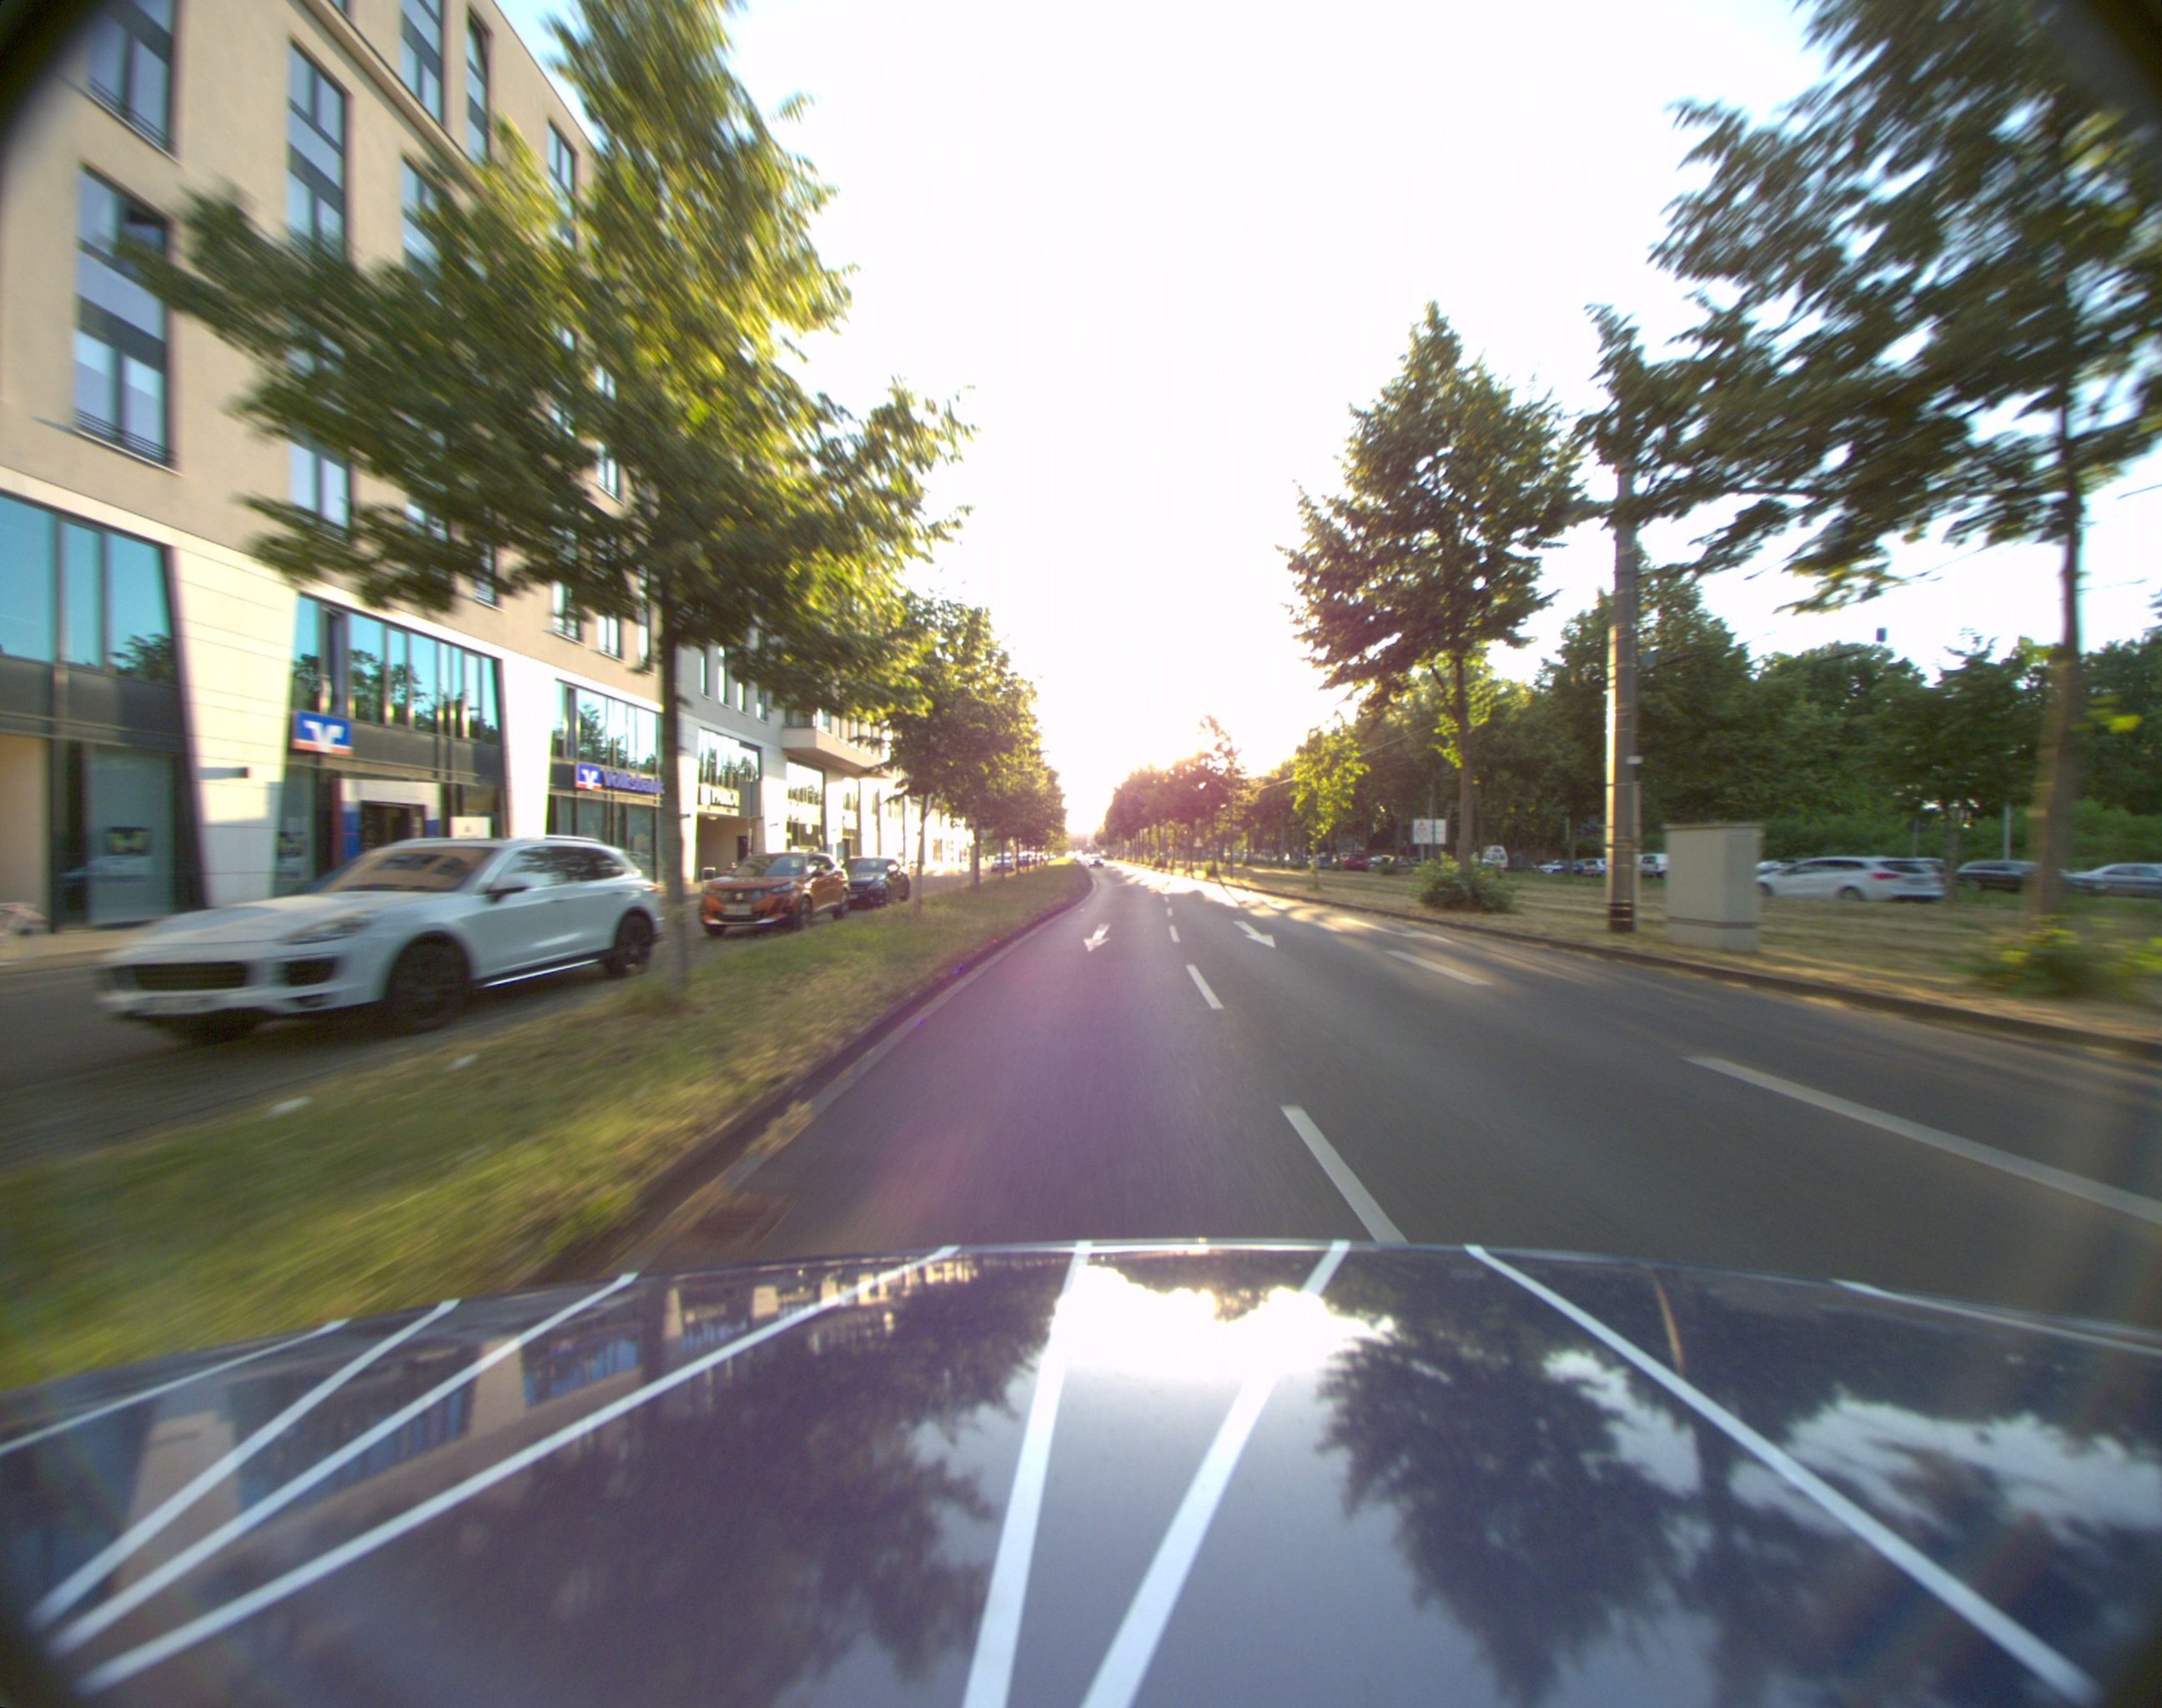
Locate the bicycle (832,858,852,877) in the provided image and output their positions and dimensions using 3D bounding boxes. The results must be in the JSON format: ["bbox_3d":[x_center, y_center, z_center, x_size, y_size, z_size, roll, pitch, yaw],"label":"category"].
[{"bbox_3d":[-13.483,0.752,42.850,0.534,1.054,1.857,2,0,0],"label":"bicycle"}]

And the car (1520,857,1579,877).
[{"bbox_3d":[40.915,1.128,66.412,3.996,1.630,1.922,0,0,2],"label":"car"}]

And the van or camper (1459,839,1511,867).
[{"bbox_3d":[40.388,-0.113,76.070,2.090,2.719,5.493,0,0,-2],"label":"van or camper"}]

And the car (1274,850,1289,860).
[{"bbox_3d":[33.894,0.172,128.624,1.997,1.630,4.002,0,0,7],"label":"car"}]

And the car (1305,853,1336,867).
[{"bbox_3d":[25.160,0.617,80.006,1.923,1.499,4.286,0,0,-1],"label":"car"}]

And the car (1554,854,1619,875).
[{"bbox_3d":[40.634,0.852,61.146,3.998,1.630,1.921,0,0,-4],"label":"car"}]

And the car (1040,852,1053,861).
[{"bbox_3d":[-6.289,0.382,138.226,1.812,1.492,4.369,4,0,3],"label":"car"}]

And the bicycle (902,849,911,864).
[{"bbox_3d":[-12.778,0.201,55.641,0.535,1.055,1.854,2,0,-13],"label":"bicycle"}]

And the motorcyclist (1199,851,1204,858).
[{"bbox_3d":[22.256,0.119,140.501,0.683,1.367,0.804,0,1,-1],"label":"motorcyclist"}]

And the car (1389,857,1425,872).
[{"bbox_3d":[33.940,1.036,79.208,1.999,1.477,3.999,0,0,-1],"label":"car"}]

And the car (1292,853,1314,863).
[{"bbox_3d":[32.648,0.569,111.759,1.904,1.491,4.306,0,0,0],"label":"car"}]

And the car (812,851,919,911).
[{"bbox_3d":[-6.166,0.701,22.300,1.949,1.540,4.810,0,0,-2],"label":"car"}]

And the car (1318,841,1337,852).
[{"bbox_3d":[43.669,-1.342,134.527,1.998,2.002,5.059,0,0,3],"label":"car"}]

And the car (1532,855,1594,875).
[{"bbox_3d":[40.783,0.911,64.308,3.997,1.630,1.922,0,0,1],"label":"car"}]

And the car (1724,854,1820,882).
[{"bbox_3d":[40.434,0.788,44.546,3.998,1.630,1.921,0,0,-4],"label":"car"}]

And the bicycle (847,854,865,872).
[{"bbox_3d":[-13.467,0.504,45.599,0.534,1.055,1.857,0,0,0],"label":"bicycle"}]

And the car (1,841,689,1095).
[{"bbox_3d":[-6.393,0.771,7.807,1.956,1.704,5.158,-1,0,1],"label":"car"}]

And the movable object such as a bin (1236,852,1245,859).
[{"bbox_3d":[35.842,0.326,170.836,1.556,1.364,1.724,0,0,1],"label":"movable object such as a bin"}]

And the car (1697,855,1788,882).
[{"bbox_3d":[40.565,0.878,46.655,3.998,1.630,1.921,0,0,-4],"label":"car"}]

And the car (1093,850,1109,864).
[{"bbox_3d":[2.397,0.309,91.547,1.828,1.625,3.999,0,0,-1],"label":"car"}]

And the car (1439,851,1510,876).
[{"bbox_3d":[22.760,0.524,44.156,1.661,1.324,4.472,0,0,-2],"label":"car"}]

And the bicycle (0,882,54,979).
[{"bbox_3d":[-13.134,0.910,8.519,0.571,1.118,1.835,2,0,11],"label":"bicycle"}]

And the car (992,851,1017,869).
[{"bbox_3d":[-6.568,0.485,65.622,1.813,1.492,4.824,0,0,-1],"label":"car"}]

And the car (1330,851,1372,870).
[{"bbox_3d":[22.361,0.523,63.077,1.890,1.569,4.181,0,0,-2],"label":"car"}]

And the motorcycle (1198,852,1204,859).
[{"bbox_3d":[22.246,0.312,140.400,0.683,1.329,2.344,0,0,-1],"label":"motorcycle"}]

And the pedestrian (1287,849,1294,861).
[{"bbox_3d":[28.952,0.140,105.145,0.695,1.733,0.866,0,1,-3],"label":"pedestrian"}]

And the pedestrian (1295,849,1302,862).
[{"bbox_3d":[29.809,0.192,104.064,0.695,1.859,0.865,0,1,-8],"label":"pedestrian"}]

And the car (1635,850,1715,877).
[{"bbox_3d":[41.252,0.669,52.855,3.997,1.834,2.012,0,0,0],"label":"car"}]

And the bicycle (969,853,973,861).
[{"bbox_3d":[-13.840,0.375,95.680,0.535,1.053,1.611,0,1,-6],"label":"bicycle"}]

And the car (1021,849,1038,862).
[{"bbox_3d":[-6.702,0.207,99.882,1.958,1.614,4.820,-2,0,-1],"label":"car"}]

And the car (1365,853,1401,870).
[{"bbox_3d":[33.552,0.808,84.562,1.999,1.740,4.790,0,0,-1],"label":"car"}]

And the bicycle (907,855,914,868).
[{"bbox_3d":[-14.058,0.585,62.699,0.535,1.055,1.854,2,0,-13],"label":"bicycle"}]

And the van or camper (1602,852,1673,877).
[{"bbox_3d":[40.892,0.766,55.833,4.001,1.780,1.998,0,0,-11],"label":"van or camper"}]

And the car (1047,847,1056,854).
[{"bbox_3d":[-7.121,-0.830,183.797,1.924,1.492,5.410,0,0,-1],"label":"car"}]

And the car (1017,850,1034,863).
[{"bbox_3d":[-6.690,0.292,92.333,1.728,1.492,4.232,-1,0,0],"label":"car"}]

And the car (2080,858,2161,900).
[{"bbox_3d":[43.501,1.006,30.398,1.920,1.630,4.001,0,0,3],"label":"car"}]

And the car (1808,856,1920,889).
[{"bbox_3d":[40.644,0.948,39.498,3.998,1.630,1.921,0,0,-4],"label":"car"}]

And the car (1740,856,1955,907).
[{"bbox_3d":[22.225,0.736,22.344,1.661,1.324,4.529,0,0,-2],"label":"car"}]

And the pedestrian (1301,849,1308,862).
[{"bbox_3d":[30.815,0.225,104.667,0.695,1.748,0.865,0,1,-8],"label":"pedestrian"}]

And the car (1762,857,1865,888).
[{"bbox_3d":[40.550,0.994,42.139,3.998,1.630,1.921,0,0,-4],"label":"car"}]

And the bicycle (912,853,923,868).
[{"bbox_3d":[-13.520,0.520,62.809,0.539,1.157,1.781,2,0,0],"label":"bicycle"}]

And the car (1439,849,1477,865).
[{"bbox_3d":[40.387,0.314,81.533,1.999,1.740,3.999,0,0,-1],"label":"car"}]

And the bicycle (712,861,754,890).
[{"bbox_3d":[-13.388,0.810,29.285,0.654,1.033,2.055,0,0,0],"label":"bicycle"}]

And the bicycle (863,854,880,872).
[{"bbox_3d":[-13.385,0.568,48.499,0.534,1.054,1.857,2,0,0],"label":"bicycle"}]

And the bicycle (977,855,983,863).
[{"bbox_3d":[-13.401,0.646,100.990,0.621,1.027,2.261,0,0,-2],"label":"bicycle"}]

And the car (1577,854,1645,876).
[{"bbox_3d":[41.194,0.829,59.084,3.998,1.630,1.921,0,0,-4],"label":"car"}]

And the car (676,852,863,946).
[{"bbox_3d":[-5.894,0.754,15.064,1.859,1.521,4.482,-1,0,-1],"label":"car"}]

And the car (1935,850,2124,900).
[{"bbox_3d":[40.905,0.851,33.019,1.999,2.002,4.931,0,0,-1],"label":"car"}]

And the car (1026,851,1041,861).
[{"bbox_3d":[-6.673,0.281,107.196,1.926,1.492,5.009,0,0,-1],"label":"car"}]
